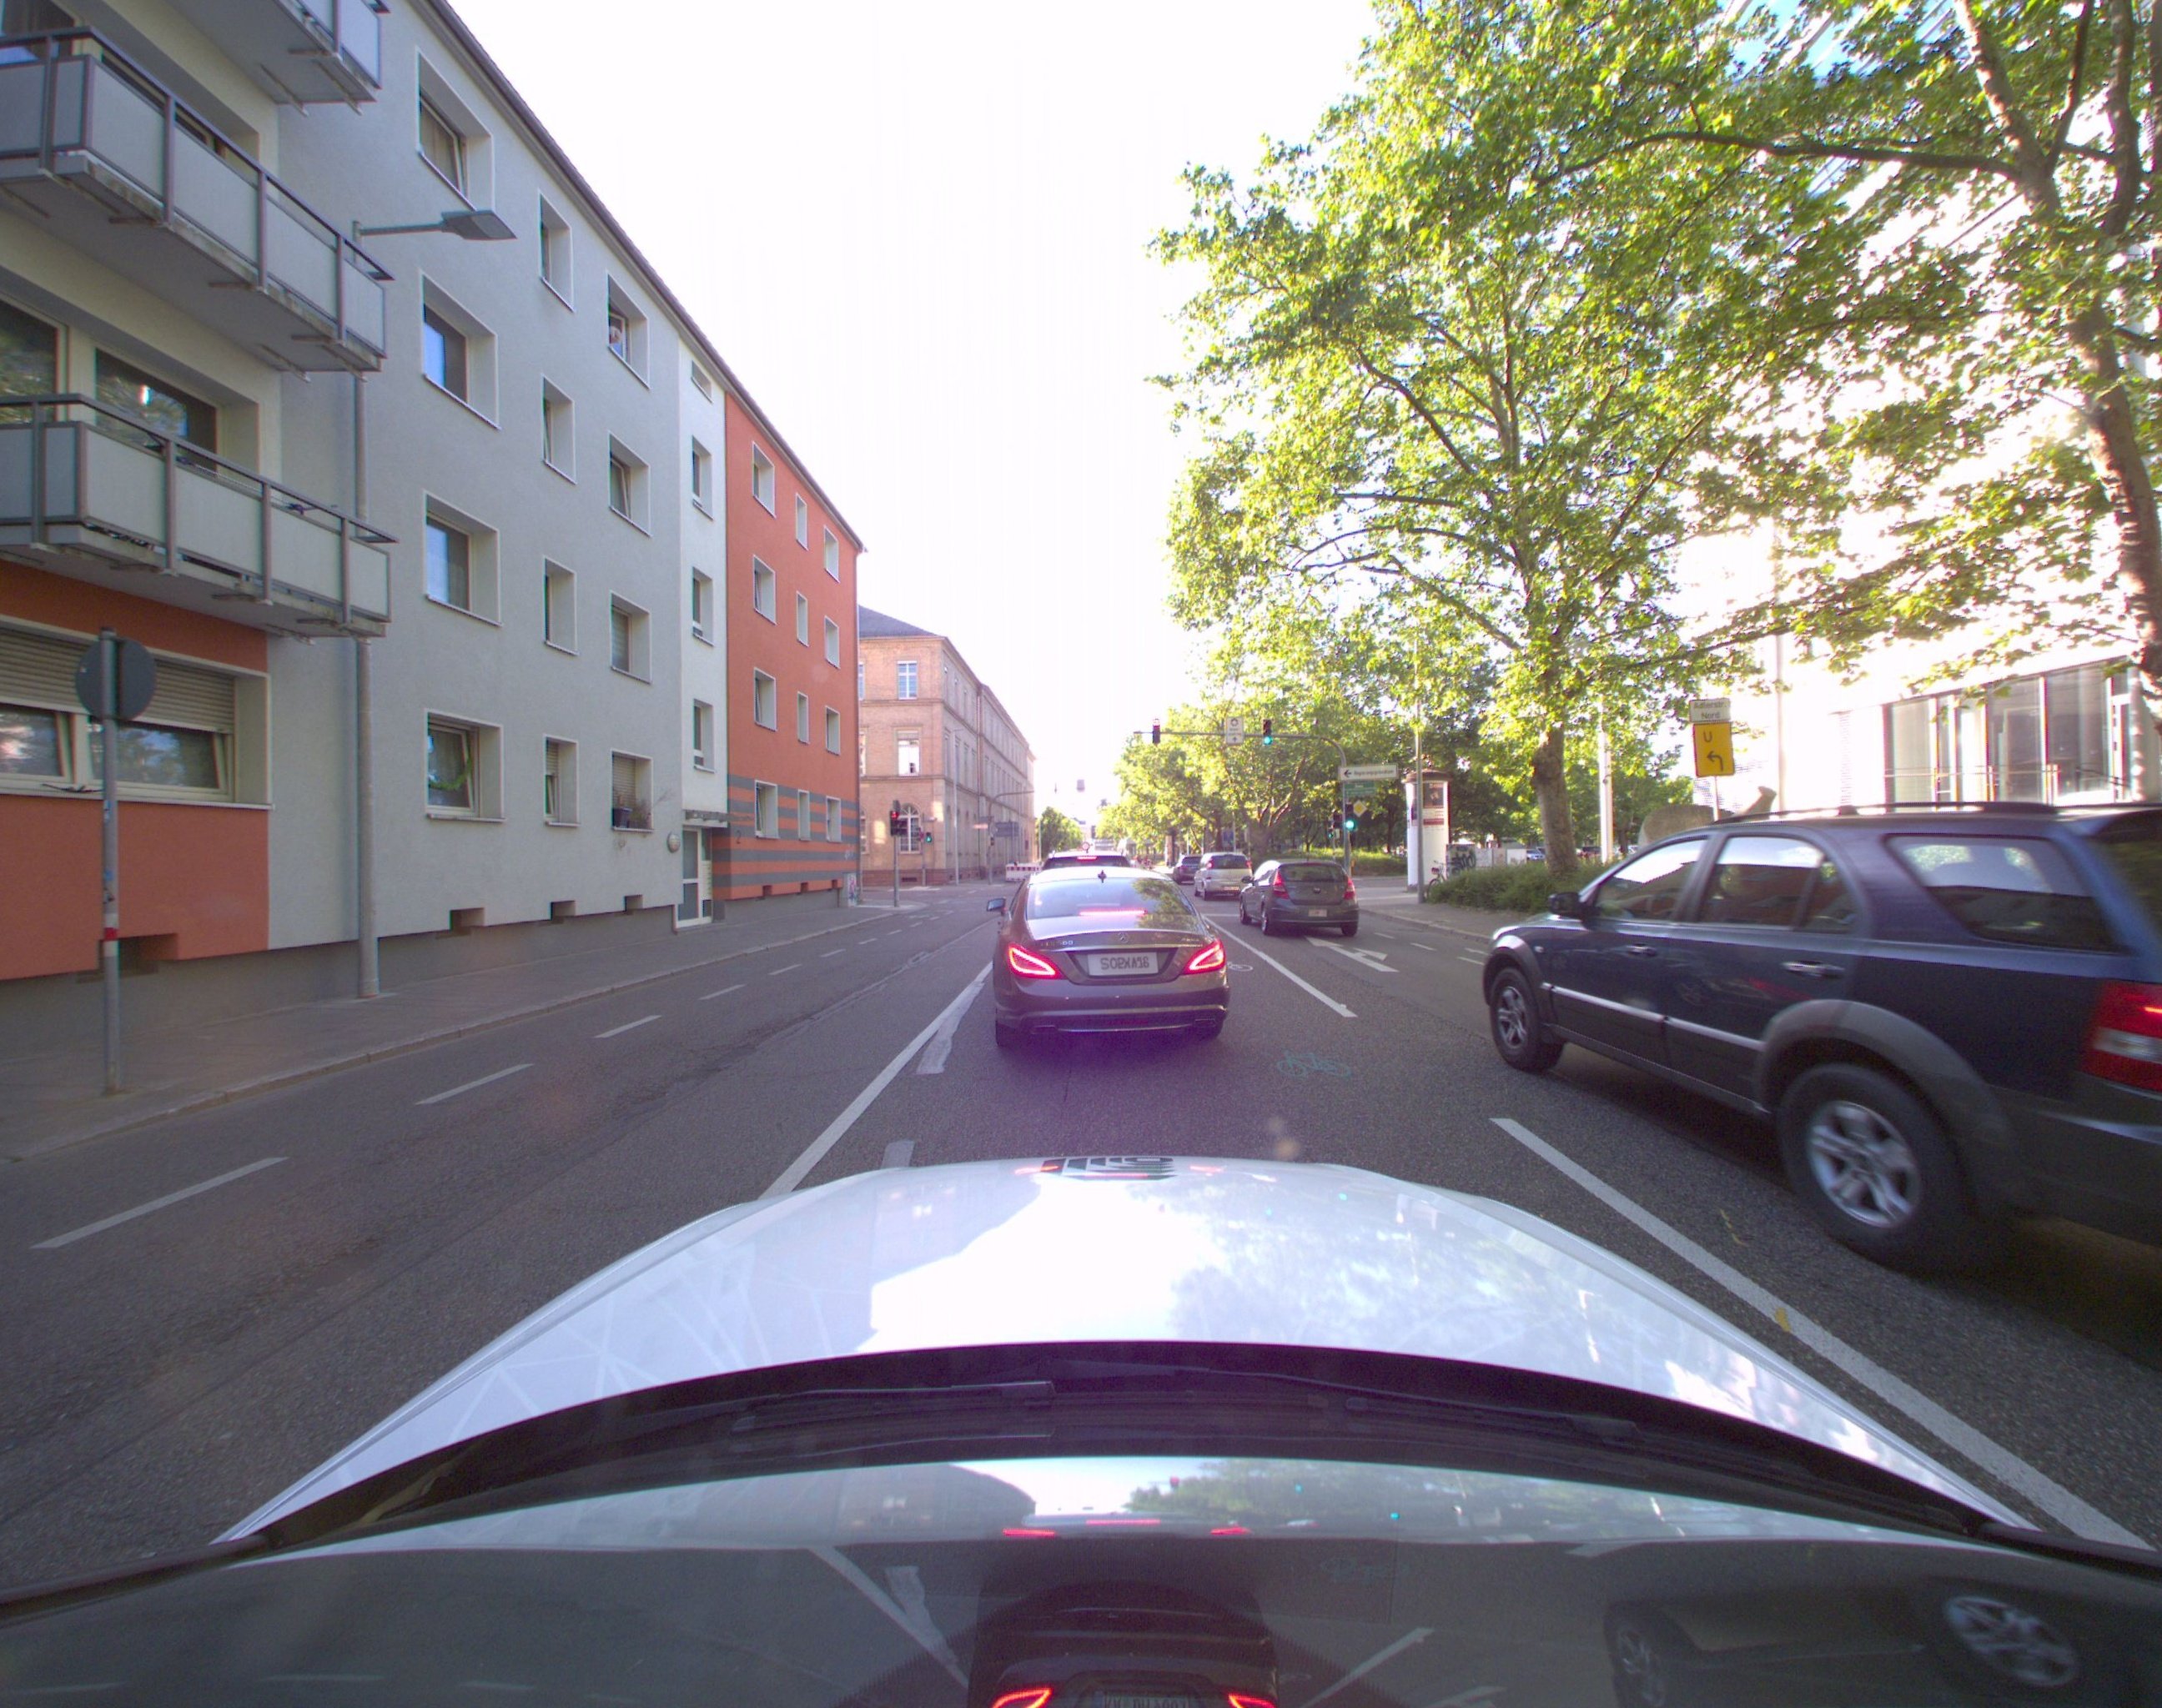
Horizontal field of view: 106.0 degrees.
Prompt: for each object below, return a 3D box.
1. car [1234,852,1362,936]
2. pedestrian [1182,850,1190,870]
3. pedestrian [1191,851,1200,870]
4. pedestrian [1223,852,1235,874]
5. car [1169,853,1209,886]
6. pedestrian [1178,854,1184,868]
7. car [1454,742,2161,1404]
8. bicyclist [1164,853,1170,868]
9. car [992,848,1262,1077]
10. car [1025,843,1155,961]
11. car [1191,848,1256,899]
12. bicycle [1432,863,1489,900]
[{"bbox_3d":[4.349,0.739,16.904,1.698,1.519,4.002,-1,0,2],"label":"car"},{"bbox_3d":[9.457,0.570,73.286,0.634,1.797,0.698,0,-1,-2],"label":"pedestrian"},{"bbox_3d":[10.307,0.573,73.275,0.634,1.760,0.698,0,-1,-2],"label":"pedestrian"},{"bbox_3d":[10.068,0.612,55.481,0.634,1.545,0.909,0,-1,-3],"label":"pedestrian"},{"bbox_3d":[5.299,0.736,40.418,1.595,1.549,3.682,0,-1,2],"label":"car"},{"bbox_3d":[10.252,0.712,83.246,0.554,1.509,0.345,0,-1,-3],"label":"pedestrian"},{"bbox_3d":[3.868,0.576,4.288,1.854,1.764,4.483,-1,0,2],"label":"car"},{"bbox_3d":[11.097,0.844,104.941,0.593,2.039,0.566,0,-1,-3],"label":"bicyclist"},{"bbox_3d":[0.144,0.737,7.585,1.859,1.519,3.992,-1,0,-6],"label":"car"},{"bbox_3d":[0.192,0.696,13.719,1.854,1.682,4.002,-1,0,2],"label":"car"},{"bbox_3d":[4.893,0.658,28.367,1.725,1.662,3.682,0,-1,2],"label":"car"},{"bbox_3d":[10.983,0.776,23.559,1.895,1.028,0.635,0,-1,-36],"label":"bicycle"}]
